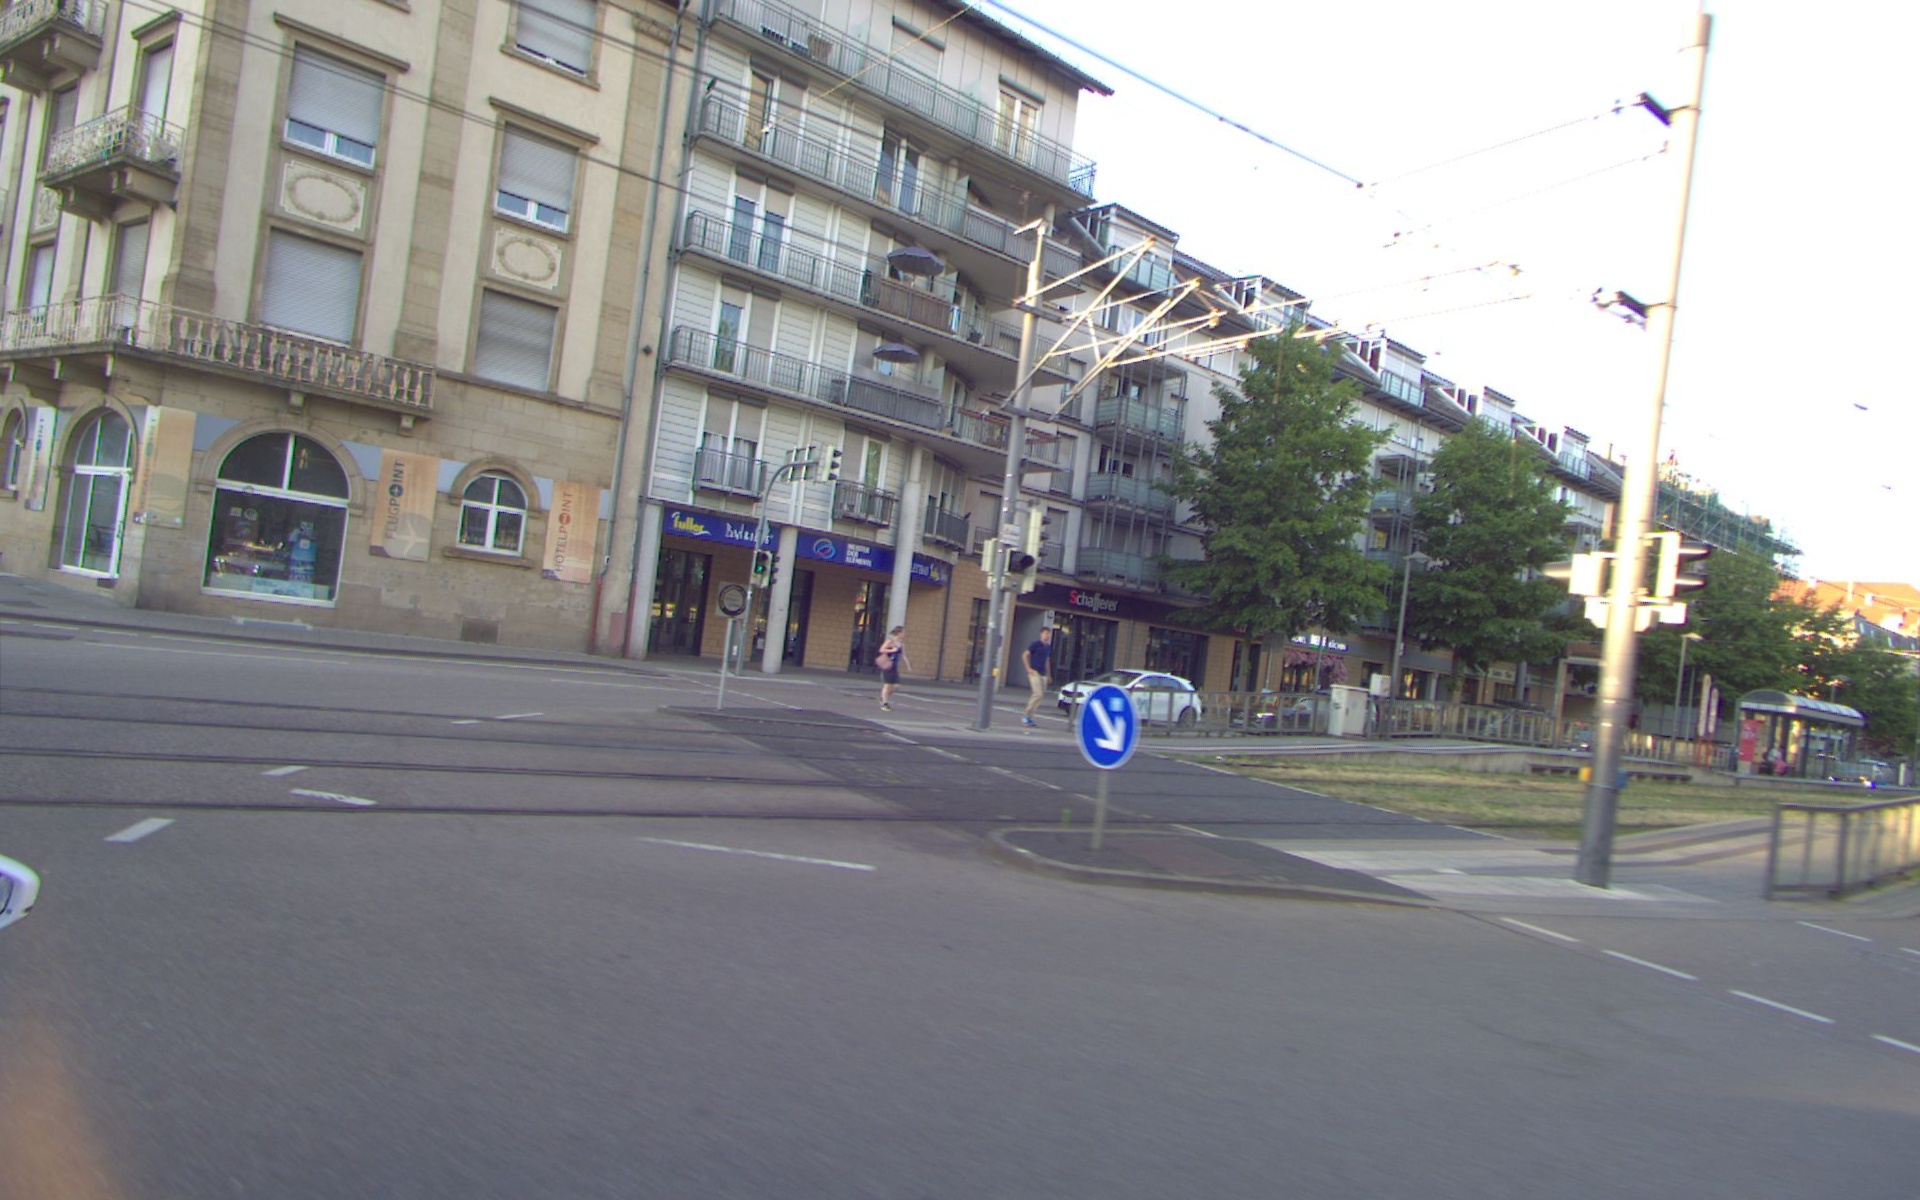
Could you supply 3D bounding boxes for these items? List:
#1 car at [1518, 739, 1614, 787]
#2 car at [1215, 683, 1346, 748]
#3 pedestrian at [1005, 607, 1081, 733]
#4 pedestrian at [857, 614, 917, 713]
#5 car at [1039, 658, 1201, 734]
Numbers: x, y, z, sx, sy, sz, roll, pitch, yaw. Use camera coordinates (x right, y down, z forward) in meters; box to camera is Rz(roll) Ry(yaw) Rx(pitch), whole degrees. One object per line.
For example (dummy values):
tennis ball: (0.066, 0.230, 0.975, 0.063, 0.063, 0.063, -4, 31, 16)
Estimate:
car: (25.272, 6.803, 41.925, 3.964, 1.502, 1.834, 10, -3, -33)
car: (9.865, 3.569, 30.874, 3.970, 1.502, 1.831, 10, -4, -38)
pedestrian: (1.554, 1.301, 18.923, 0.813, 2.233, 0.864, 8, -2, -32)
pedestrian: (-1.404, 1.218, 19.326, 0.782, 1.799, 0.539, 9, -2, -32)
car: (4.314, 2.577, 26.946, 3.964, 1.502, 1.834, 10, -3, -33)
